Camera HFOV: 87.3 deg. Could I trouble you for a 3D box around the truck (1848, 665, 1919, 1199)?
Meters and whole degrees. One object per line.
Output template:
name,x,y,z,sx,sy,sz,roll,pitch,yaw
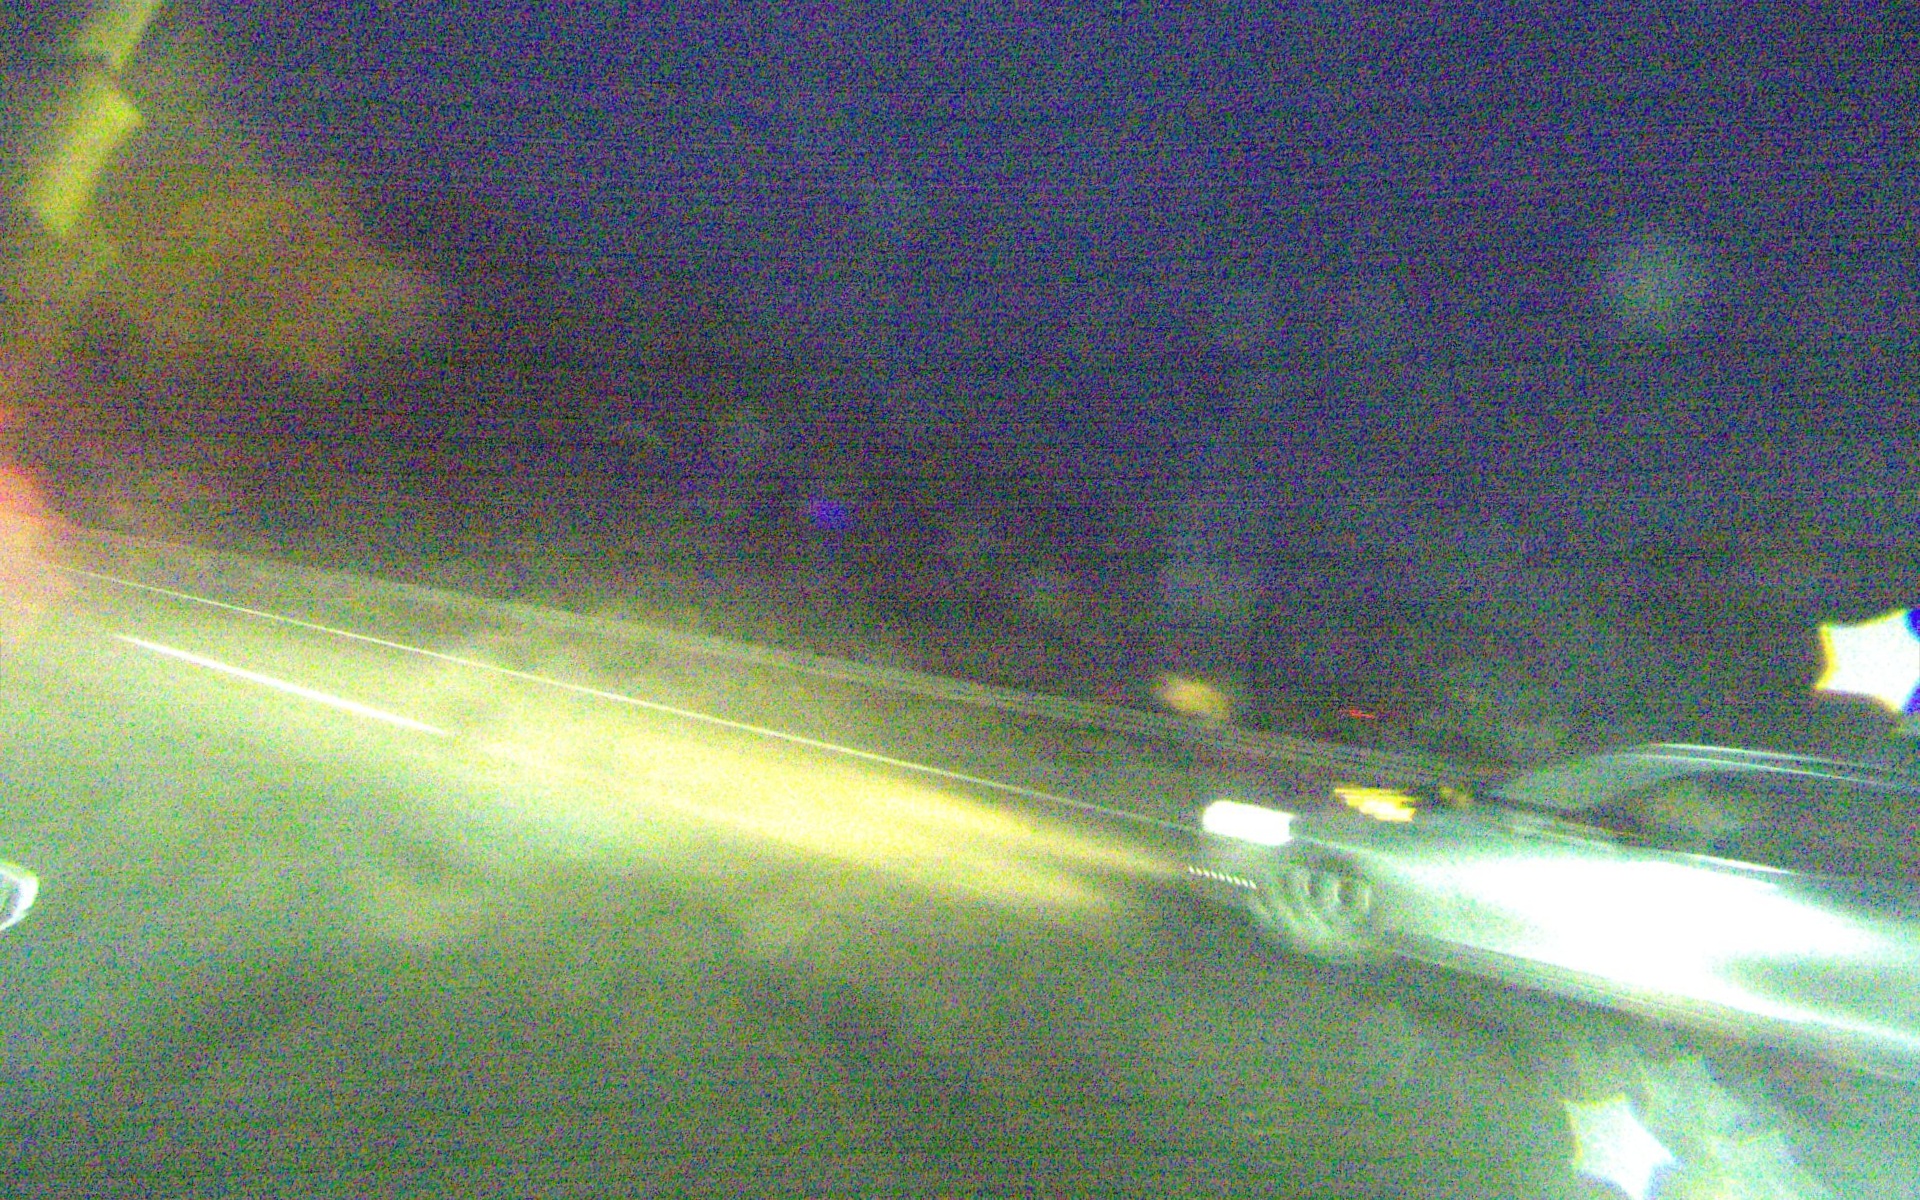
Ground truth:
truck,3.871,1.149,0.522,4.775,1.715,1.847,6,-2,32

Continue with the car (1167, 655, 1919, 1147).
car,3.902,1.421,4.863,5.277,1.496,1.746,7,-2,32

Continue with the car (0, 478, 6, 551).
car,-25.067,-2.180,24.024,5.318,1.999,2.047,7,1,33
